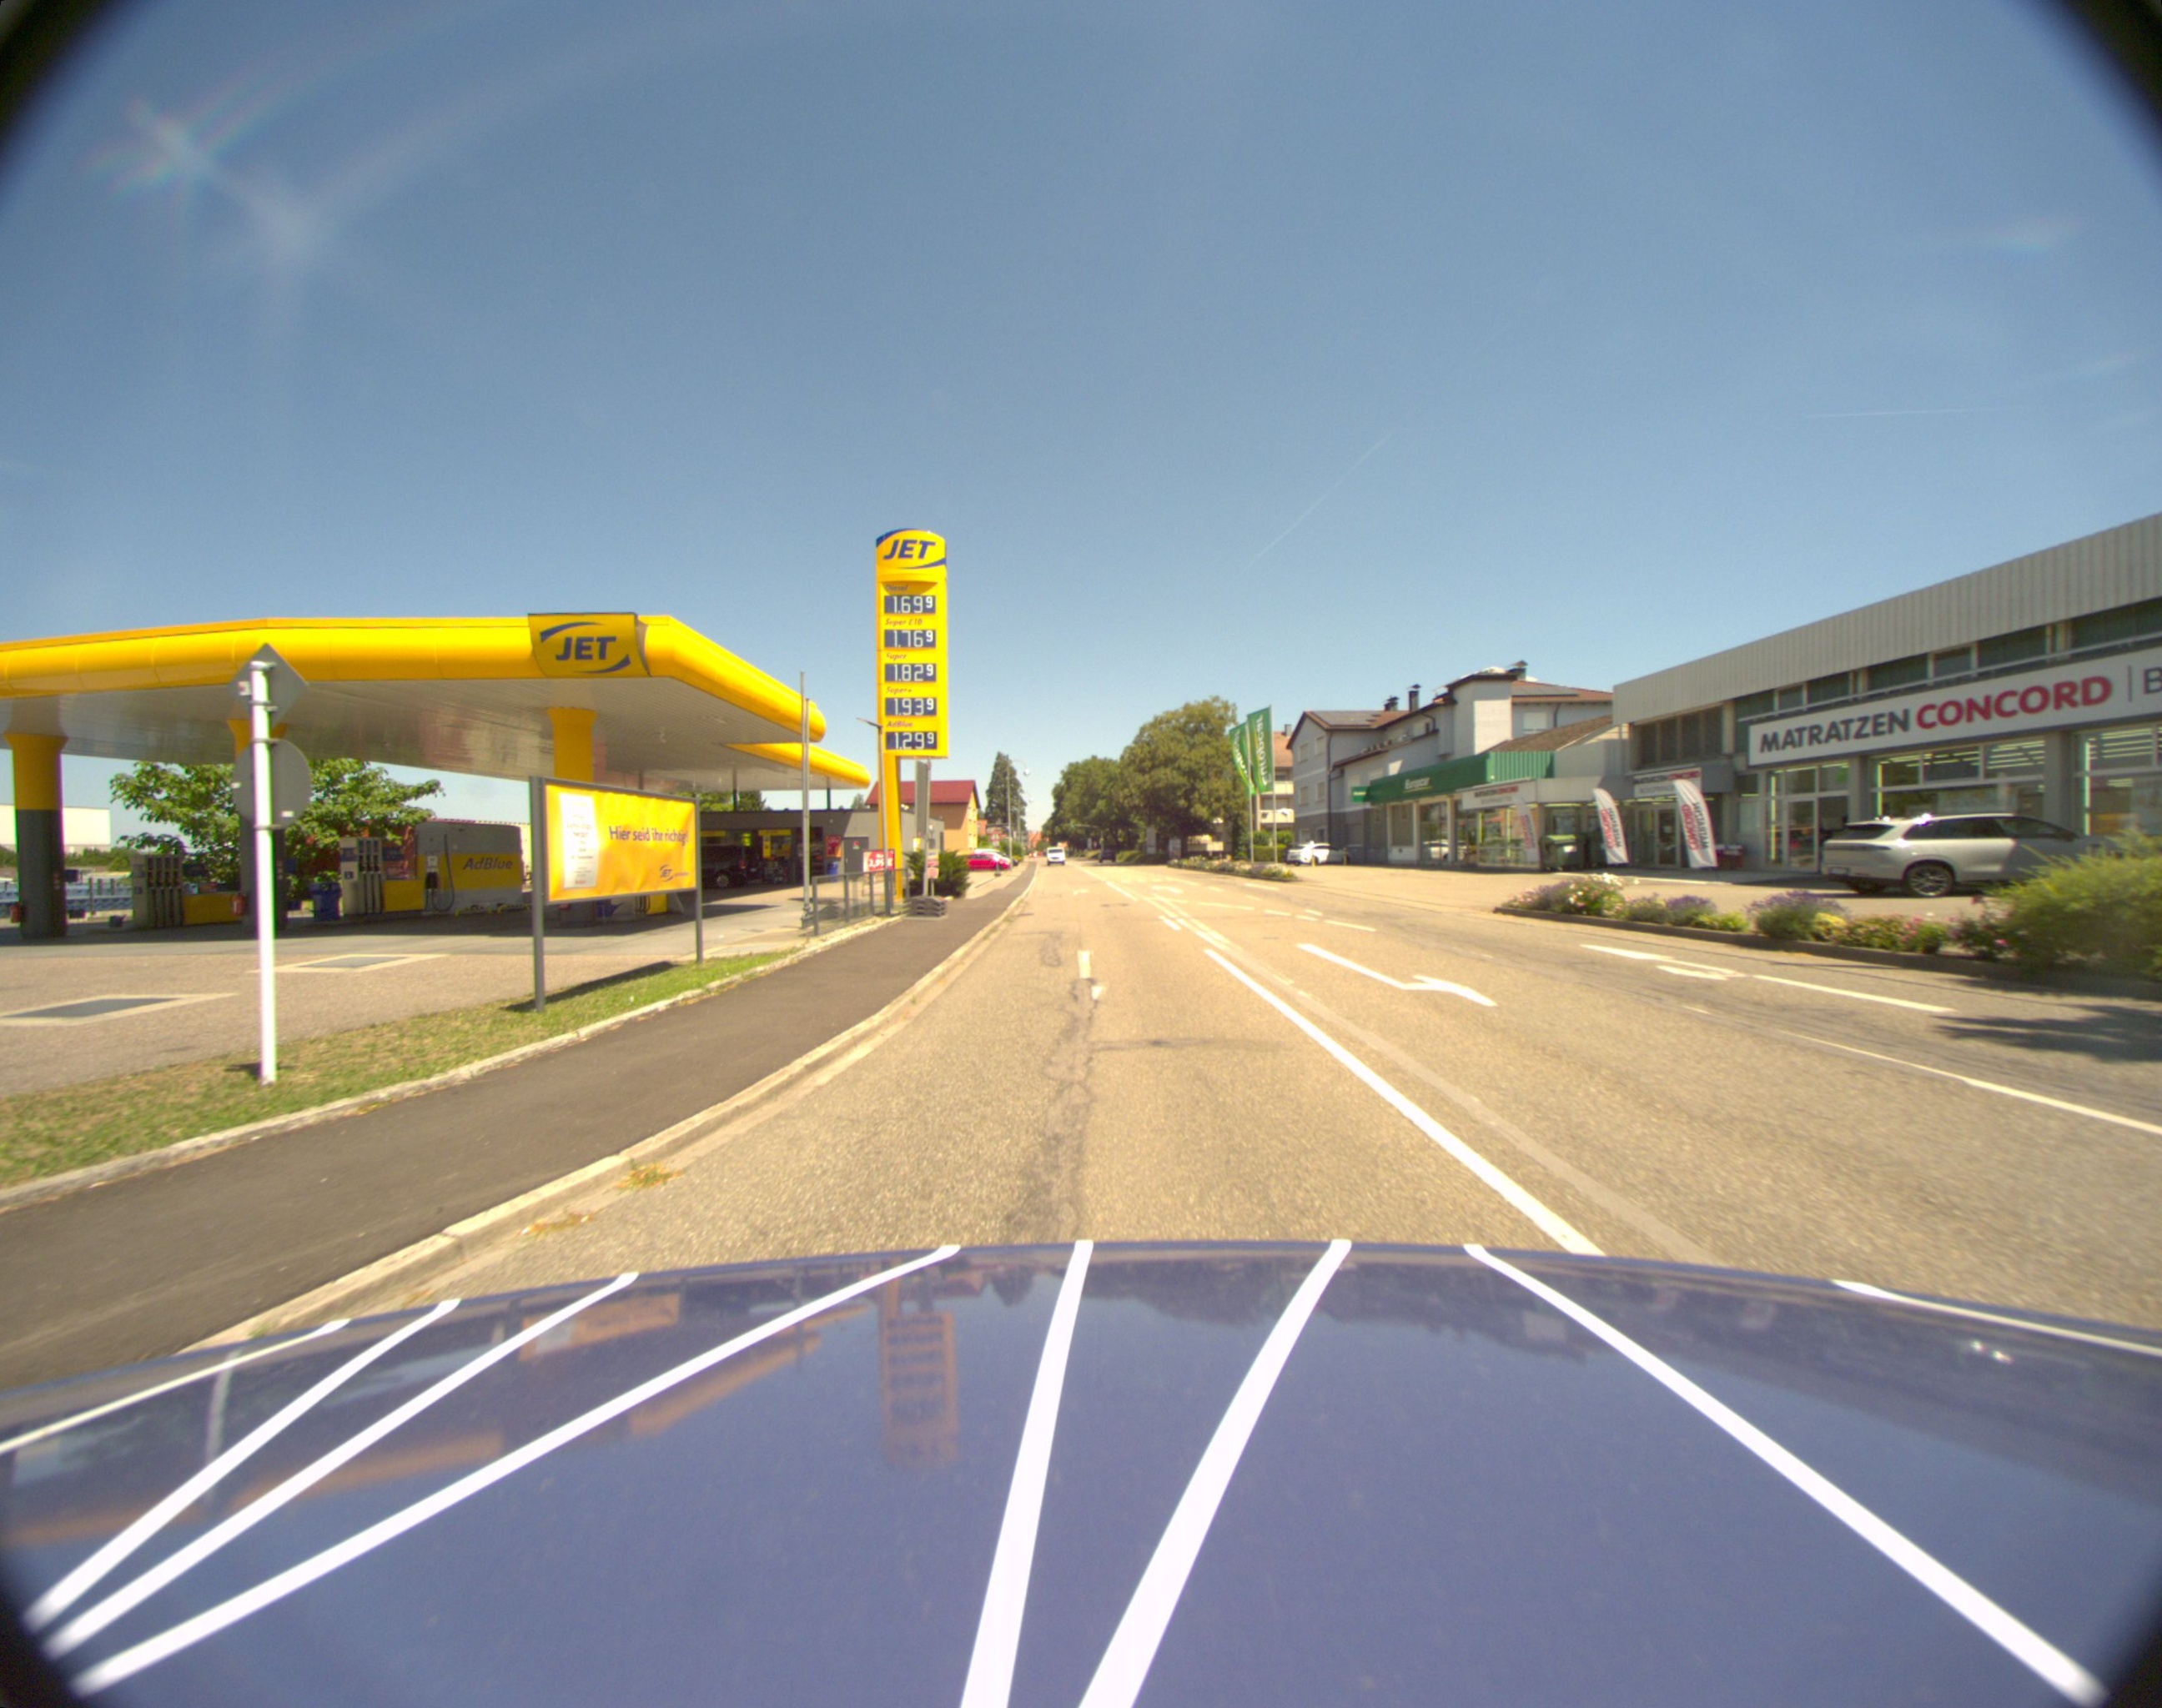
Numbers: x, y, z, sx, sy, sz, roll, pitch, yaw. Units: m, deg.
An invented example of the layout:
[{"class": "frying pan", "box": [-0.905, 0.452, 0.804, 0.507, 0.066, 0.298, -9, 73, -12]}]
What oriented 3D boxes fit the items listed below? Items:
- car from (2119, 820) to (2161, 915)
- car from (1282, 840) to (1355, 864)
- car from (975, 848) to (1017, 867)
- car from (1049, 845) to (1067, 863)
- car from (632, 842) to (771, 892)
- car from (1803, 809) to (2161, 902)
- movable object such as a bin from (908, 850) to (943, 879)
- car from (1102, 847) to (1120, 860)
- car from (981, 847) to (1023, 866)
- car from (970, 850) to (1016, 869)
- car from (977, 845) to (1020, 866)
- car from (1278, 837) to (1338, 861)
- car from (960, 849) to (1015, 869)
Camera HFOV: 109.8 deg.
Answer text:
[{"class": "car", "box": [18.385, 0.150, 10.911, 3.630, 1.466, 2.002, -2, 1, 17]}, {"class": "car", "box": [15.585, -0.151, 49.918, 4.360, 1.431, 1.936, -2, 1, -25]}, {"class": "car", "box": [-7.575, 0.303, 68.074, 3.695, 1.557, 1.641, -1, 0, -5]}, {"class": "car", "box": [-2.561, -0.012, 83.673, 1.797, 1.904, 3.638, -2, 1, -4]}, {"class": "car", "box": [-16.663, 0.543, 33.566, 5.063, 1.964, 2.000, -2, 1, -1]}, {"class": "car", "box": [18.413, 0.047, 15.777, 4.536, 1.654, 2.002, -2, 1, 17]}, {"class": "movable object such as a bin", "box": [-7.702, 0.503, 37.690, 1.438, 1.429, 1.467, 0, 1, -2]}, {"class": "car", "box": [3.581, -0.036, 91.192, 1.767, 1.518, 4.136, -1, 1, -3]}, {"class": "car", "box": [-7.535, 0.228, 72.426, 3.887, 1.671, 1.762, -1, 0, -5]}, {"class": "car", "box": [-7.343, 0.462, 63.508, 3.695, 1.557, 1.707, -1, 0, -6]}, {"class": "car", "box": [-8.112, 0.173, 74.493, 4.147, 1.927, 1.806, -2, 1, -8]}, {"class": "car", "box": [16.021, -0.340, 53.806, 3.570, 1.556, 1.969, -2, 1, -3]}, {"class": "car", "box": [-7.470, 0.370, 61.030, 4.236, 1.526, 1.957, -1, 0, -3]}]
